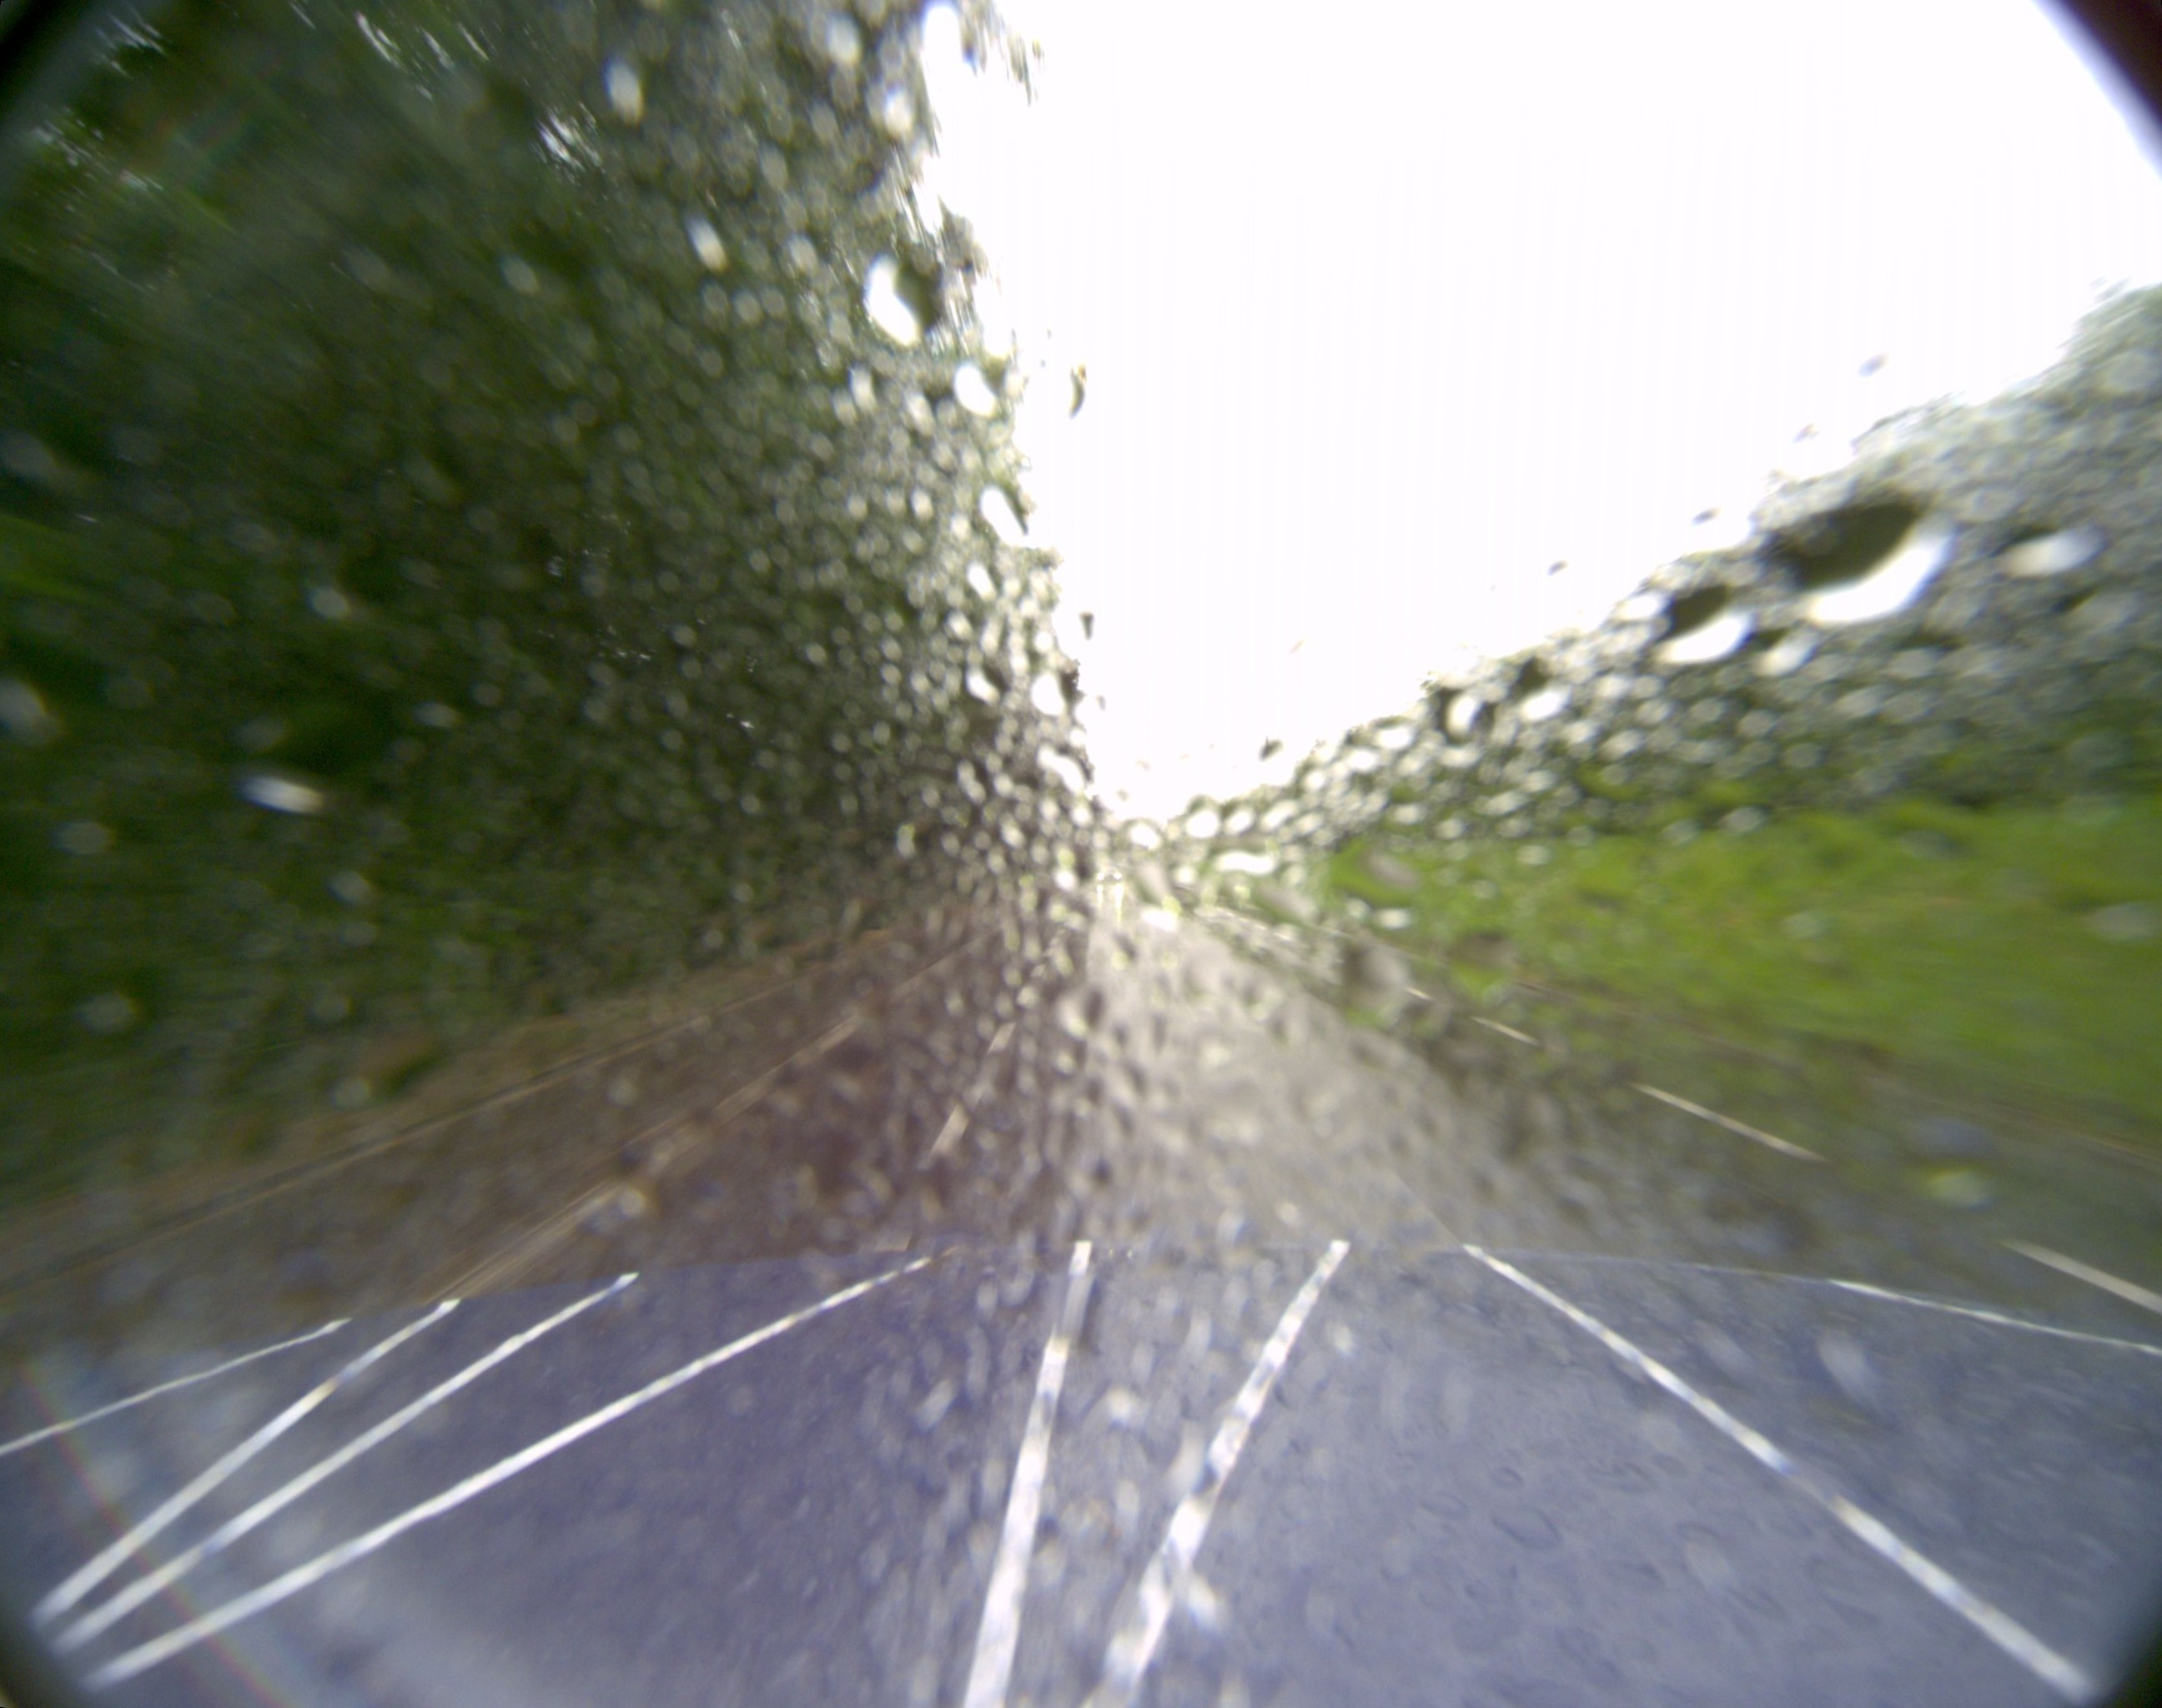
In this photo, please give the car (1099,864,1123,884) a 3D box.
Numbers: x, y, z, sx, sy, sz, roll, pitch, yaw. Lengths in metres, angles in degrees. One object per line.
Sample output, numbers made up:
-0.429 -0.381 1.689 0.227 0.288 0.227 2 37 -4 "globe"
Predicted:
2.516 1.641 63.253 1.798 1.543 4.001 2 0 5 "car"
